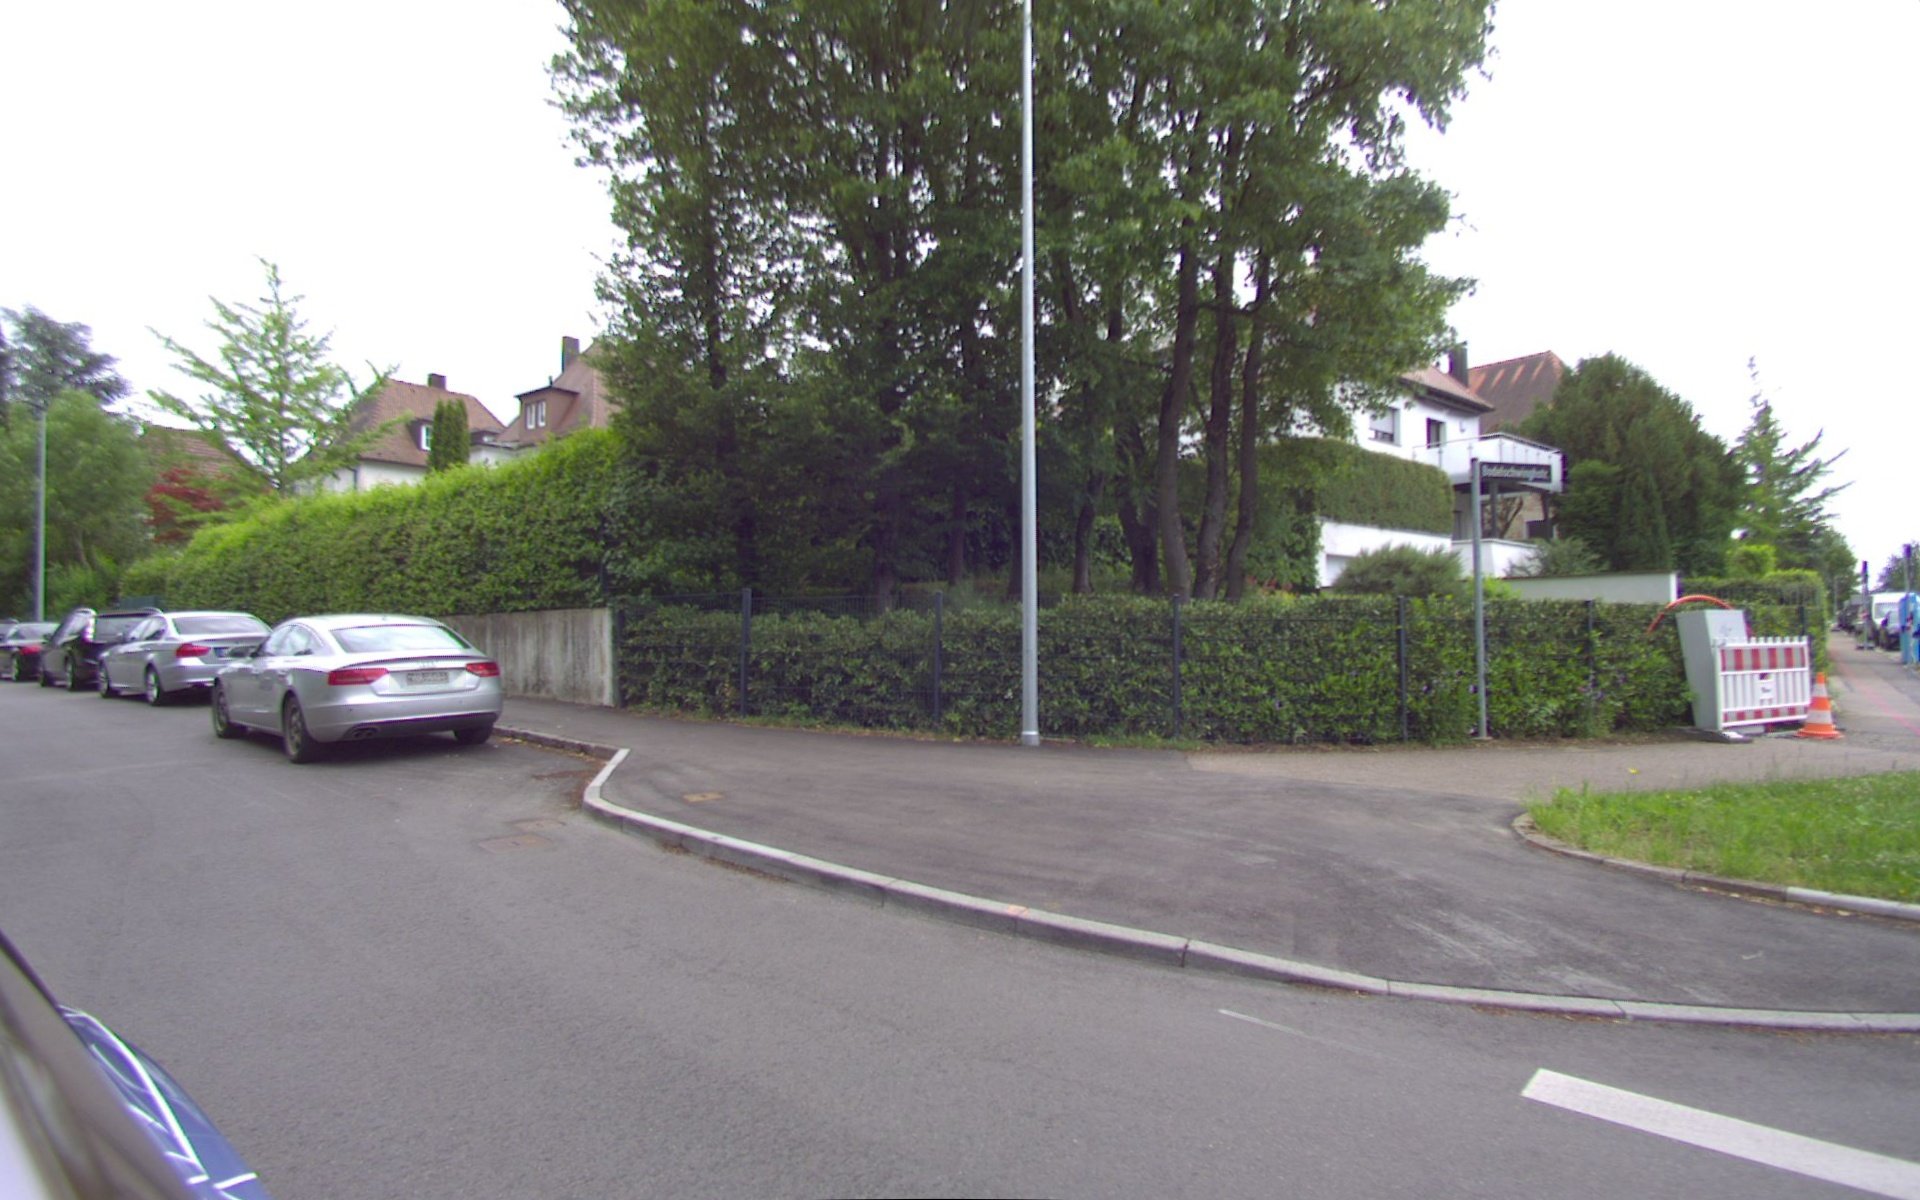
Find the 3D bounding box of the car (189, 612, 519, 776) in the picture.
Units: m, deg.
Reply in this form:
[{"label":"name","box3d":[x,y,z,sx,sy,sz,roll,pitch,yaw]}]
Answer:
[{"label":"car","box3d":[-6.644,0.852,10.878,4.444,1.384,1.812,-1,0,42]}]

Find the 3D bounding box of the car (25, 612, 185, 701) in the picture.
[{"label":"car","box3d":[-16.990,1.044,20.035,4.469,1.545,1.640,-1,0,39]}]

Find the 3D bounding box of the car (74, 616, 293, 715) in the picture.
[{"label":"car","box3d":[-12.742,0.991,16.520,4.333,1.384,1.758,-1,0,37]}]

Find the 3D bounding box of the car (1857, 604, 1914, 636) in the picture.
[{"label":"car","box3d":[43.451,0.918,47.579,1.527,1.423,3.509,-1,-1,35]}]

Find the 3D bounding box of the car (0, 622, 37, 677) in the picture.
[{"label":"car","box3d":[-26.460,1.309,27.099,4.654,1.395,1.703,-1,-1,36]}]

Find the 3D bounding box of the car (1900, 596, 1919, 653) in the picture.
[{"label":"car","box3d":[32.493,0.778,33.407,1.999,1.807,3.945,-1,-1,41]}]

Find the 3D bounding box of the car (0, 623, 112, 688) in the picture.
[{"label":"car","box3d":[-21.470,1.238,23.486,4.097,1.351,1.697,-1,0,34]}]
